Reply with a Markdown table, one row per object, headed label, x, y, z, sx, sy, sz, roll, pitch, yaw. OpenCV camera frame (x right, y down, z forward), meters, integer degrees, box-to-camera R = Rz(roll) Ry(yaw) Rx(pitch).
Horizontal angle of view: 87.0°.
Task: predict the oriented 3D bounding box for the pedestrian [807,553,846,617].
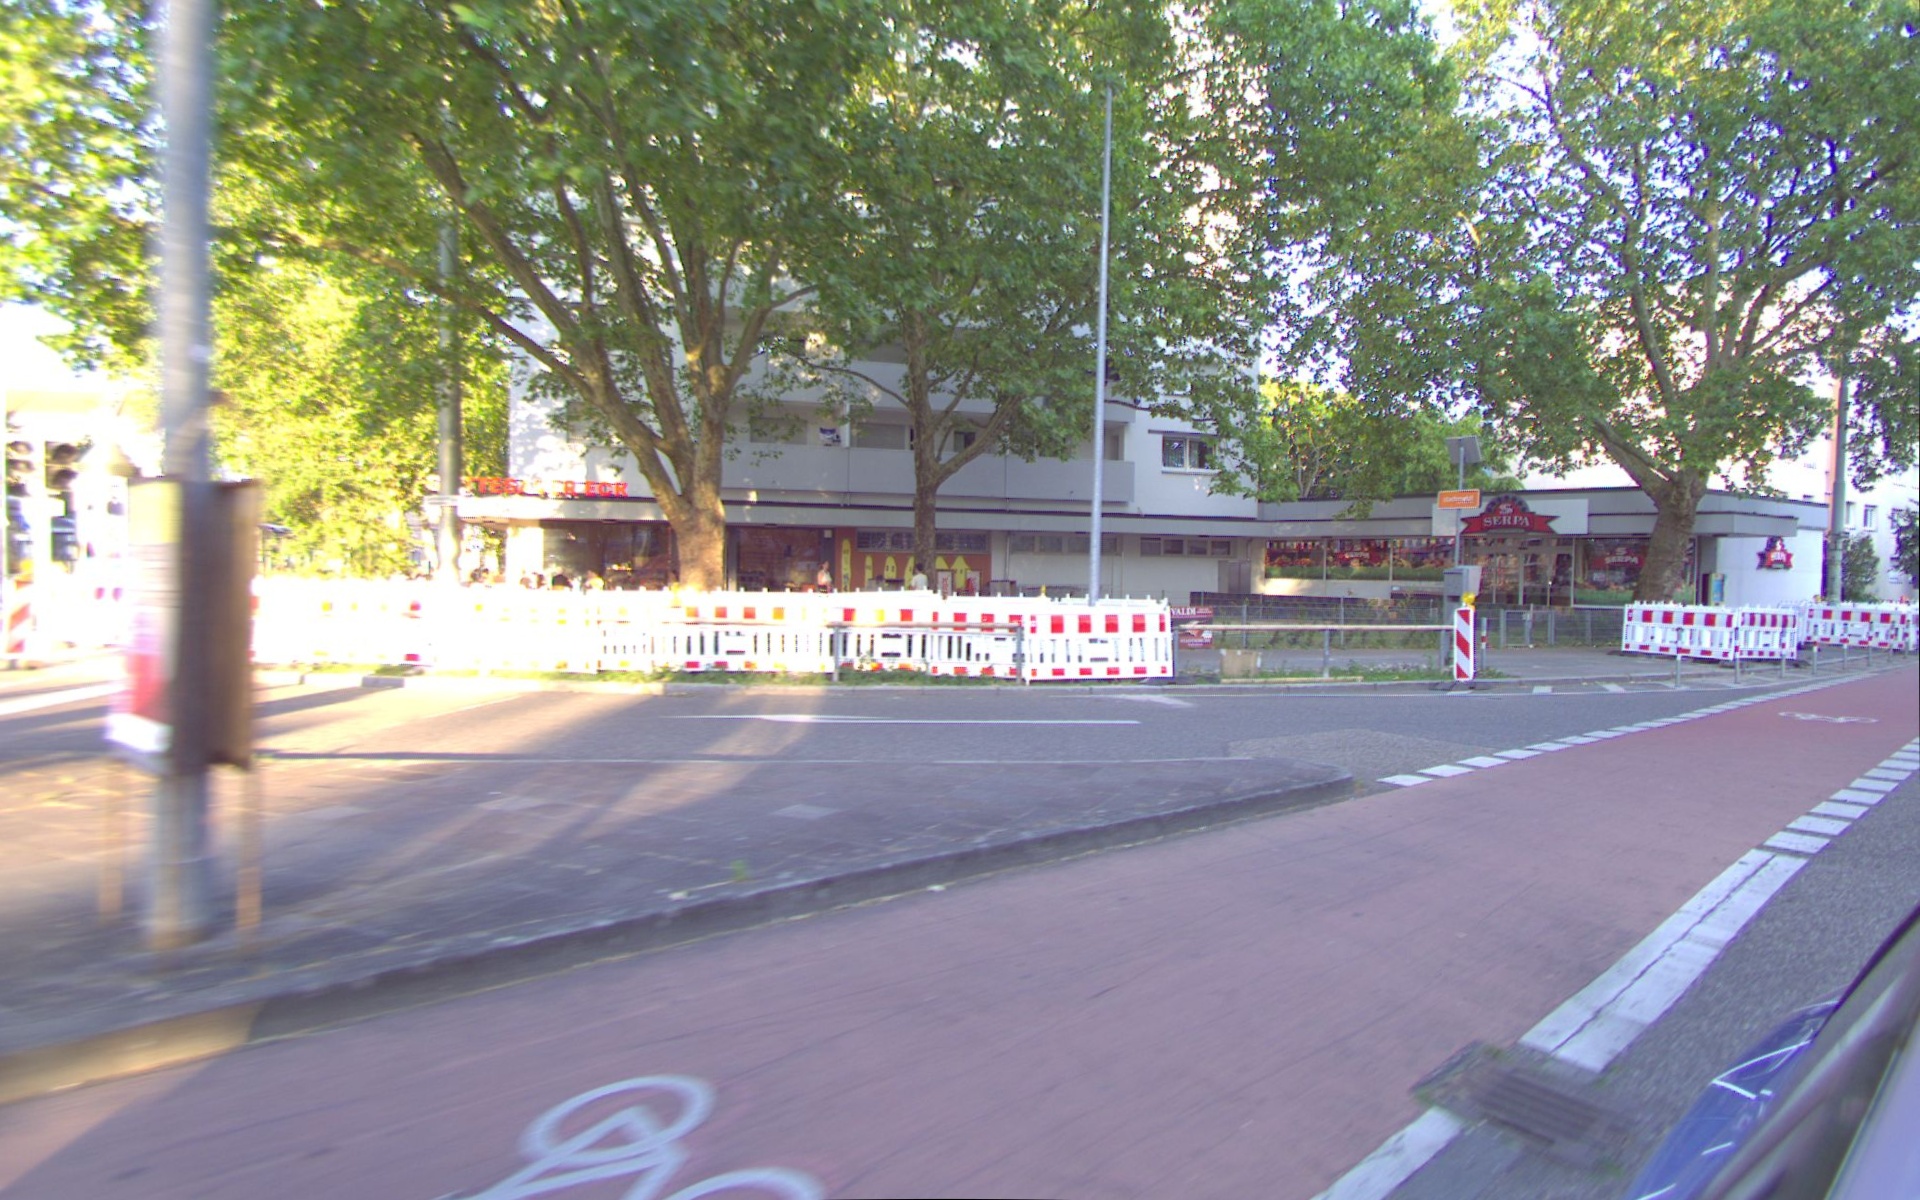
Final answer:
| label | x | y | z | sx | sy | sz | roll | pitch | yaw |
| --- | --- | --- | --- | --- | --- | --- | --- | --- | --- |
| pedestrian | -3.418 | -0.387 | 25.902 | 0.639 | 1.608 | 0.735 | 1 | 1 | 44 |

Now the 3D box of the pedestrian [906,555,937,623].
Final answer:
| label | x | y | z | sx | sy | sz | roll | pitch | yaw |
| --- | --- | --- | --- | --- | --- | --- | --- | --- | --- |
| pedestrian | -0.910 | -0.280 | 24.294 | 0.732 | 1.608 | 0.641 | 0 | 1 | -1 |
